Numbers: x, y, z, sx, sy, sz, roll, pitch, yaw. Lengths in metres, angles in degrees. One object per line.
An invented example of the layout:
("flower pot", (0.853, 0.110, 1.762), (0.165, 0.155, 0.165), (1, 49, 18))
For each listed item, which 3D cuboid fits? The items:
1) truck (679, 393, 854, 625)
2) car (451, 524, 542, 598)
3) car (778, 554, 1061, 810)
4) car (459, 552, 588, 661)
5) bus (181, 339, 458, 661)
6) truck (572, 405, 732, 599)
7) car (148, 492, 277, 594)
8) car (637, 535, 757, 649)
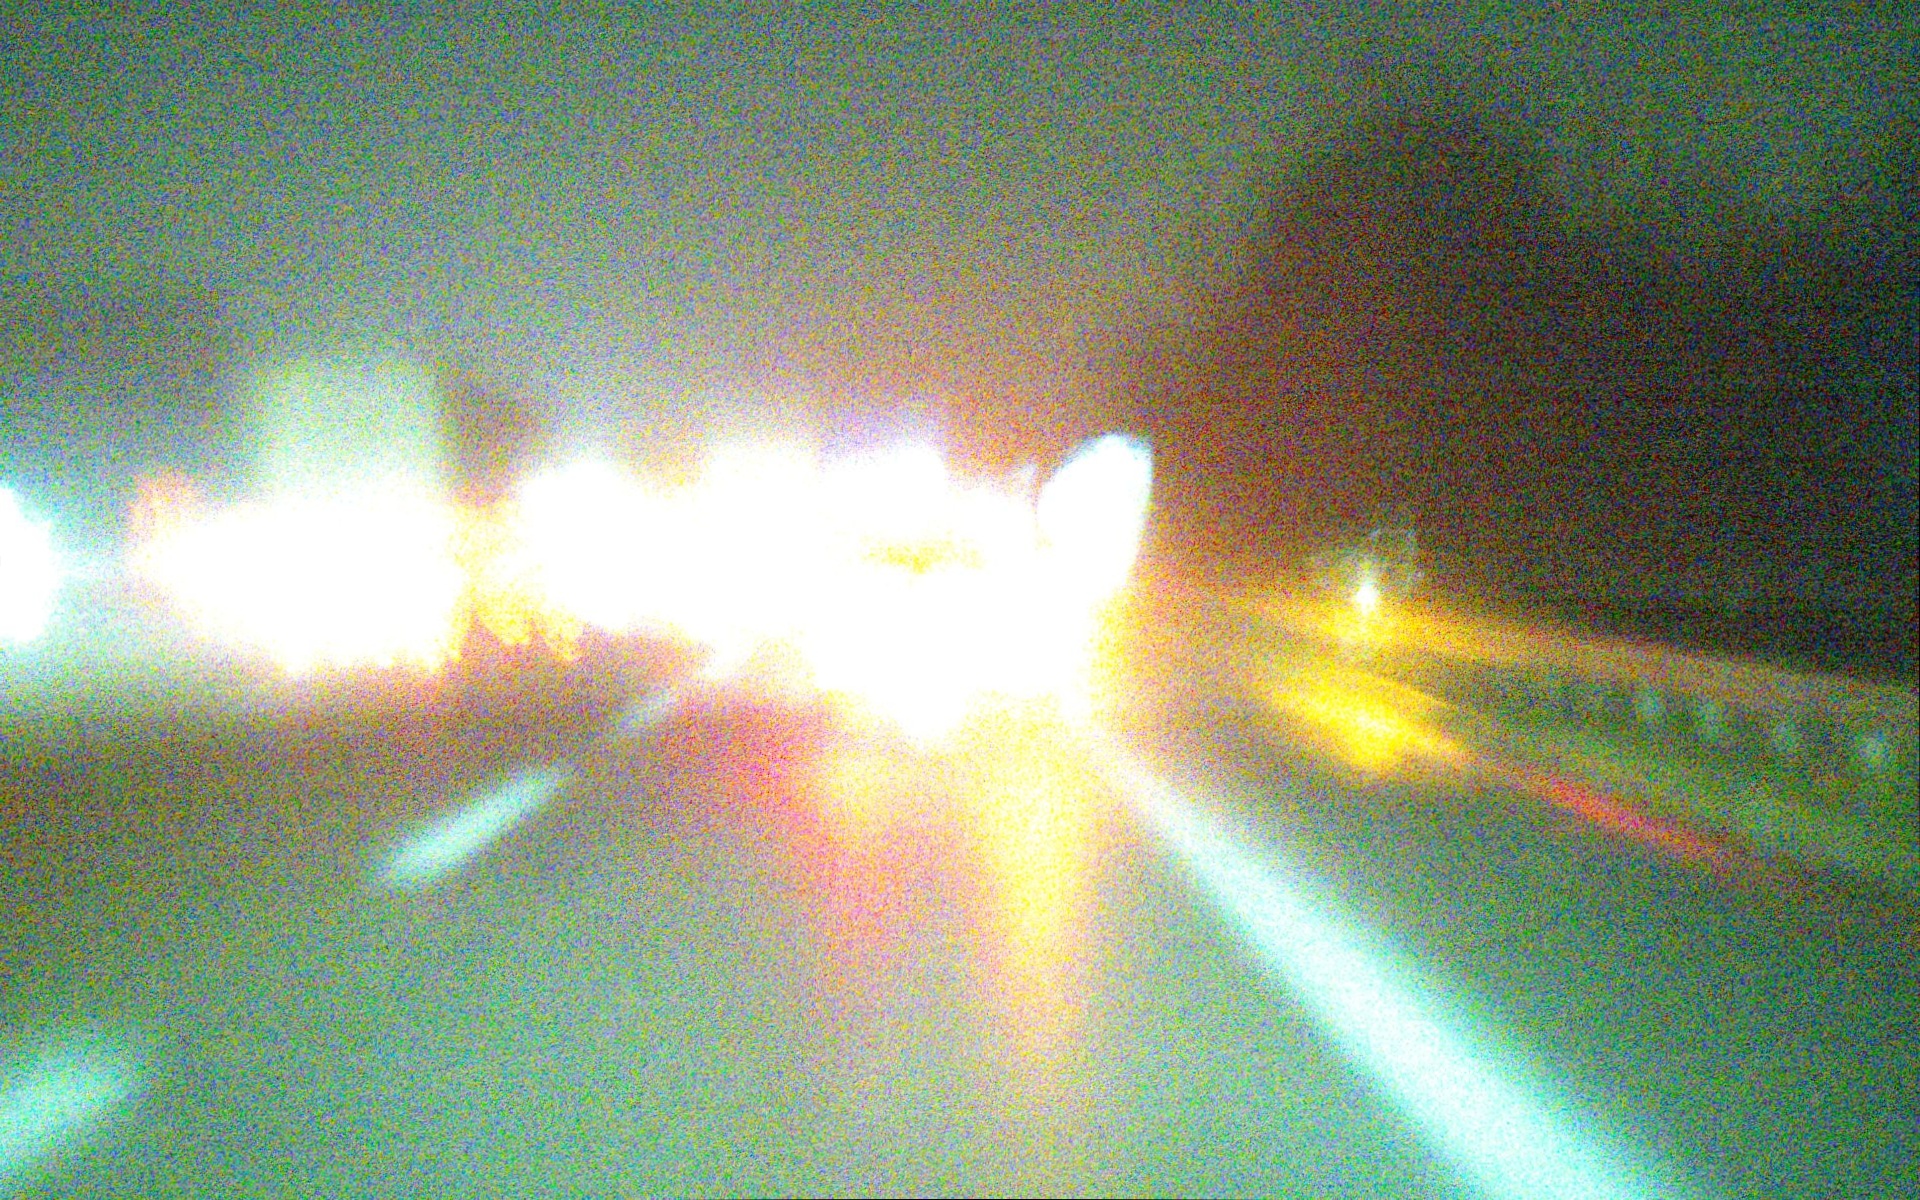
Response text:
("truck", (-4.927, -2.282, 90.008), (4.210, 5.629, 11.468), (1, 0, -2))
("car", (-11.634, -0.970, 86.482), (1.993, 1.801, 4.001), (1, 0, -4))
("car", (-0.328, 0.570, 26.515), (1.993, 1.801, 4.000), (1, 0, -1))
("car", (-7.531, 0.088, 59.608), (1.993, 1.801, 4.001), (1, 0, -4))
("bus", (-9.814, -1.460, 53.885), (3.096, 4.492, 10.915), (1, 0, -4))
("truck", (-9.433, -2.935, 106.673), (4.210, 5.629, 11.468), (1, 0, -2))
("car", (-13.722, -1.035, 63.291), (1.993, 1.788, 4.001), (1, 0, -8))
("car", (-4.859, -0.162, 63.958), (2.125, 2.007, 4.646), (1, 0, -3))
